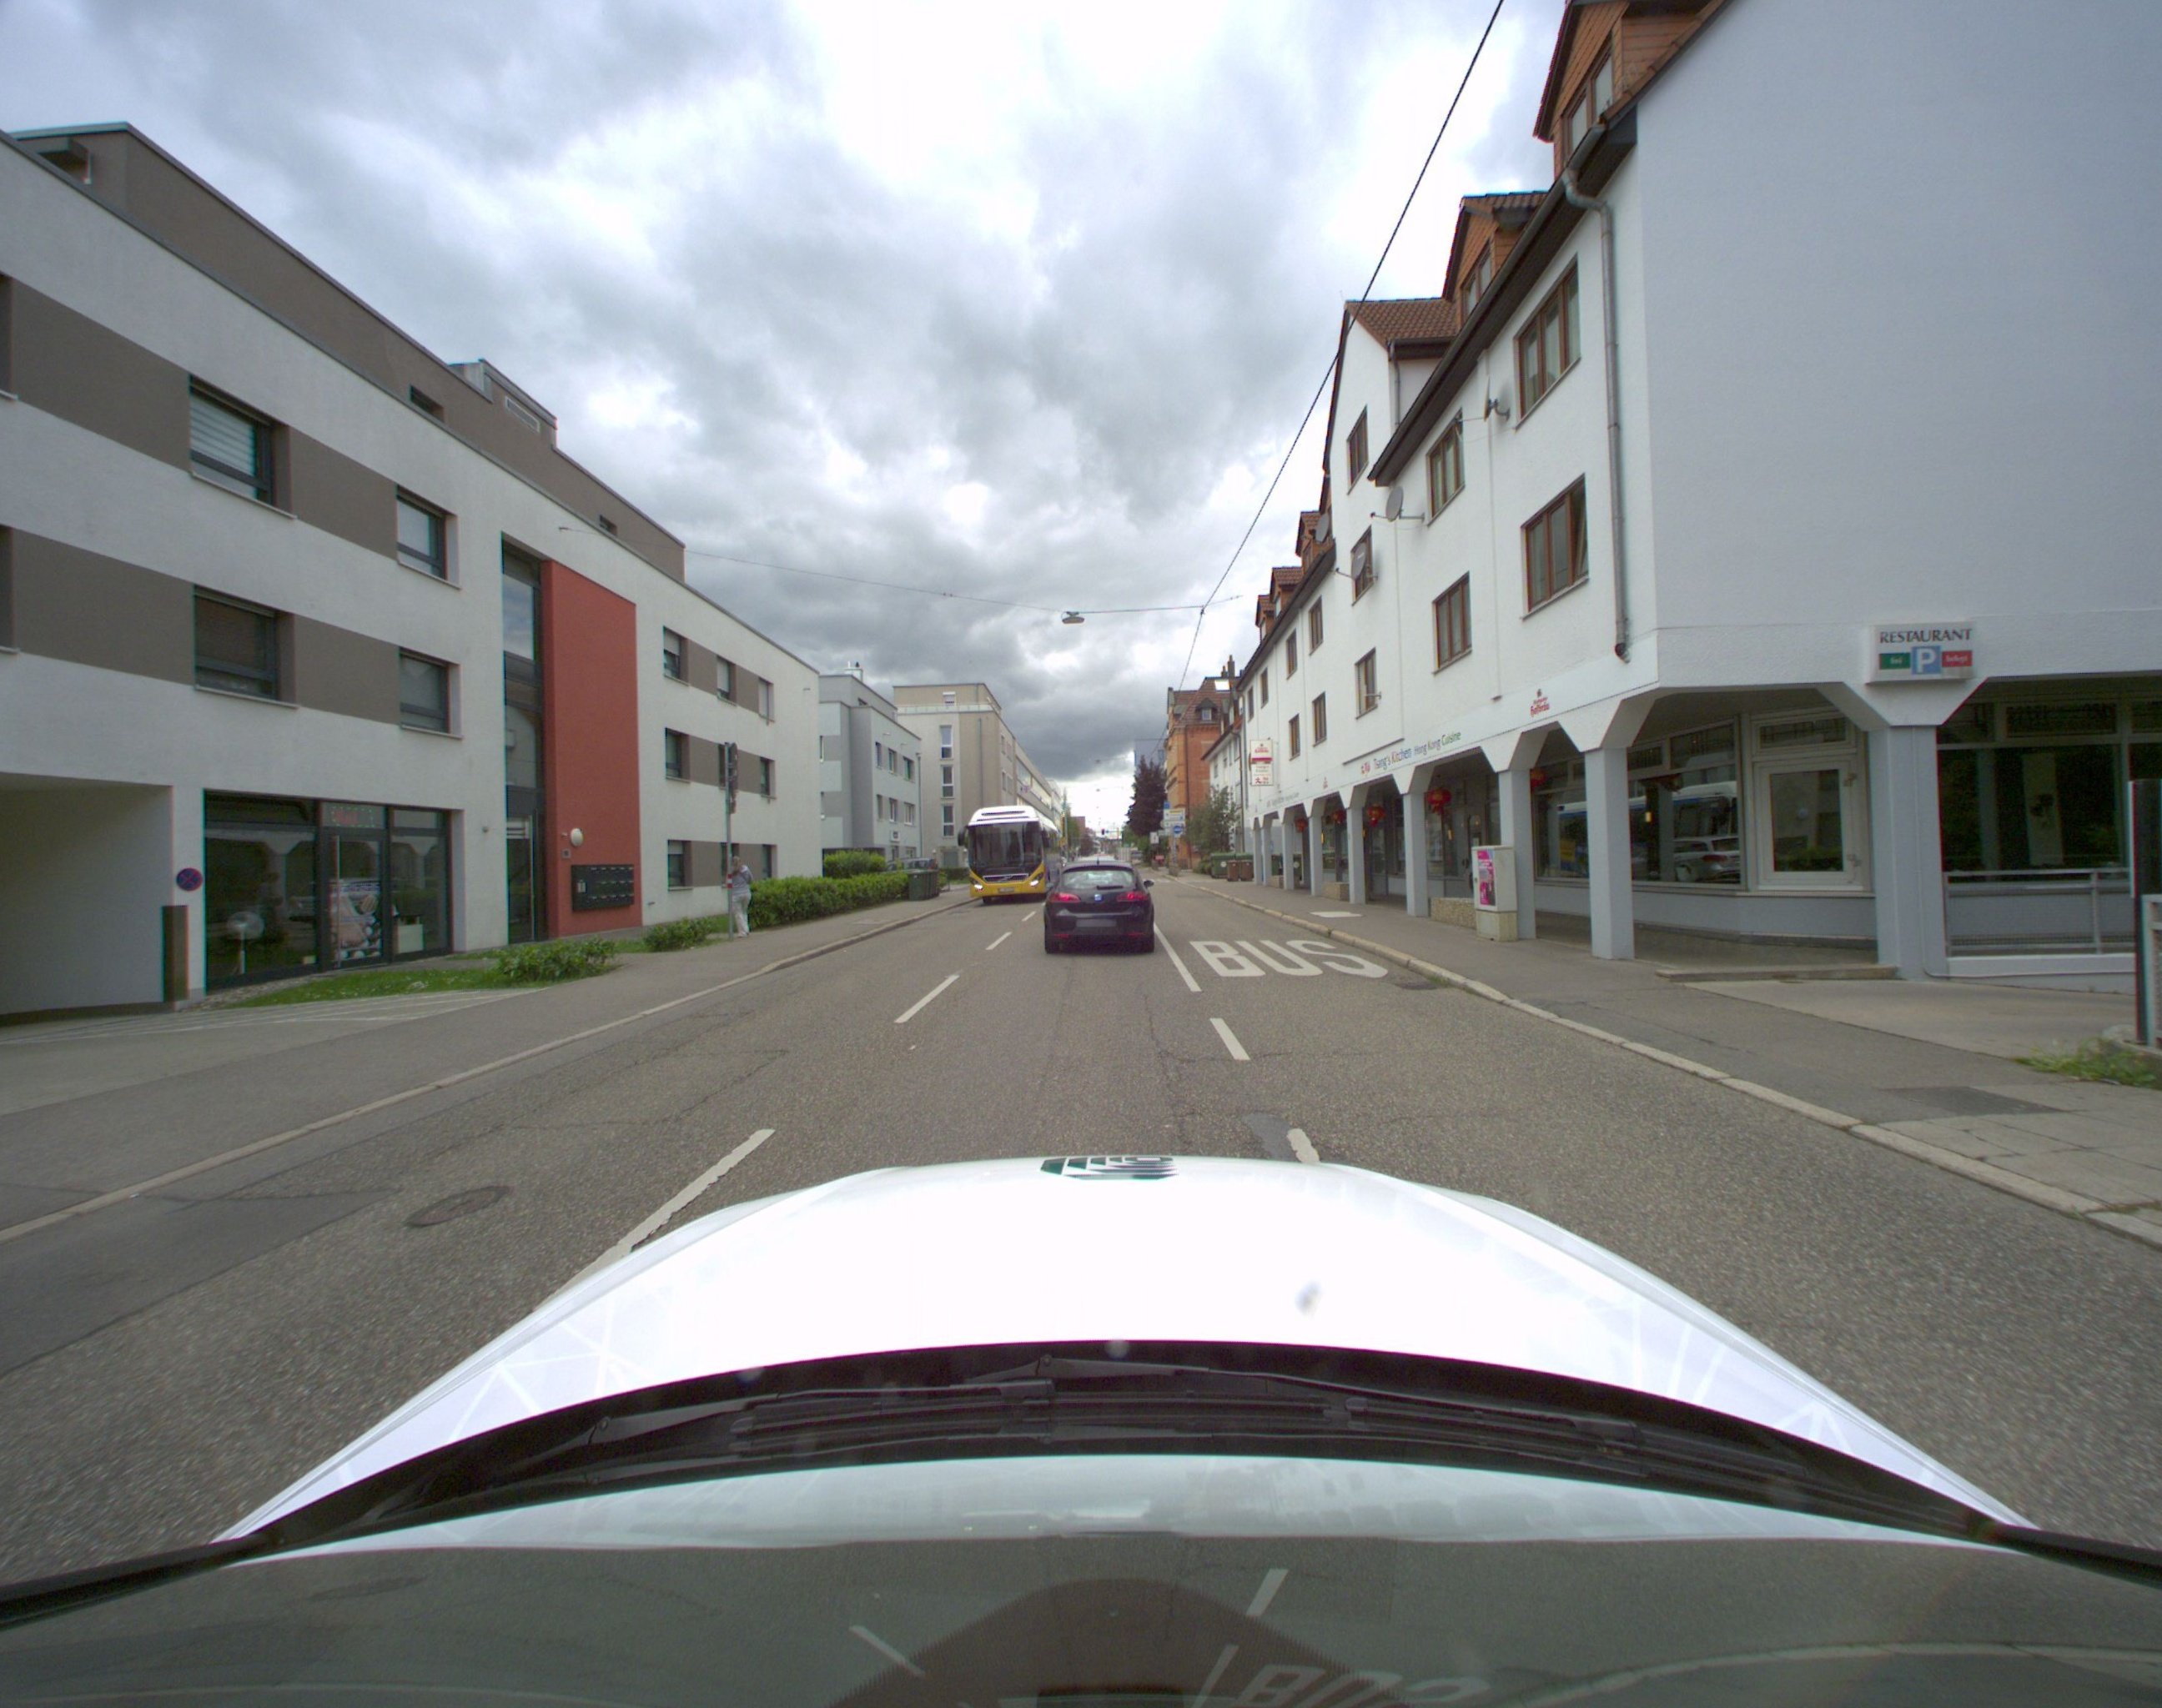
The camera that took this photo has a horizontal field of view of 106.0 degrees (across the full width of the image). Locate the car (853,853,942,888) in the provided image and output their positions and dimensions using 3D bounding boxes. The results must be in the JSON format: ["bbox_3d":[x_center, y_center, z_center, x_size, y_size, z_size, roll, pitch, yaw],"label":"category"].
[{"bbox_3d":[-9.622,0.859,42.820,4.143,1.667,1.727,-2,-1,5],"label":"car"}]

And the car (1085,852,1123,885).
[{"bbox_3d":[1.173,0.716,41.549,1.797,1.553,3.738,-2,0,1],"label":"car"}]

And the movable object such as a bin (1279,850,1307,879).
[{"bbox_3d":[10.752,0.506,41.353,1.203,1.417,1.261,-2,0,5],"label":"movable object such as a bin"}]

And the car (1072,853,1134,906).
[{"bbox_3d":[0.681,0.758,25.817,1.797,1.492,3.738,-2,0,1],"label":"car"}]

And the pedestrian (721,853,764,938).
[{"bbox_3d":[-6.720,0.810,16.183,0.643,1.642,0.514,-1,0,-37],"label":"pedestrian"}]

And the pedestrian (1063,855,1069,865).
[{"bbox_3d":[-2.720,1.099,148.915,0.915,1.869,0.783,-2,0,1],"label":"pedestrian"}]

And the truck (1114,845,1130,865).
[{"bbox_3d":[5.680,0.128,112.744,1.986,2.607,3.261,-2,0,1],"label":"truck"}]

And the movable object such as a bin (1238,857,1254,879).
[{"bbox_3d":[8.464,0.705,41.769,0.694,1.079,0.973,-2,0,5],"label":"movable object such as a bin"}]

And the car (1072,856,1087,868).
[{"bbox_3d":[-0.123,1.059,113.423,1.872,1.451,4.215,-4,0,1],"label":"car"}]

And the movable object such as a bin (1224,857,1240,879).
[{"bbox_3d":[7.738,0.718,41.811,0.680,1.067,0.973,-2,0,5],"label":"movable object such as a bin"}]

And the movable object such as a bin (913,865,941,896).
[{"bbox_3d":[-6.032,1.031,31.944,0.938,1.151,0.612,-2,0,-3],"label":"movable object such as a bin"}]

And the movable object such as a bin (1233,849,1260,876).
[{"bbox_3d":[9.229,0.471,45.425,1.262,1.435,1.308,-2,0,2],"label":"movable object such as a bin"}]

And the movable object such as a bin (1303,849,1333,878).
[{"bbox_3d":[12.002,0.475,41.285,1.203,1.417,1.261,-2,0,5],"label":"movable object such as a bin"}]

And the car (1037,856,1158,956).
[{"bbox_3d":[0.304,0.776,14.013,1.759,1.433,3.830,-2,0,2],"label":"car"}]

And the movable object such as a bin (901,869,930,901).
[{"bbox_3d":[-5.983,1.120,29.518,0.892,1.089,0.792,-2,0,-3],"label":"movable object such as a bin"}]

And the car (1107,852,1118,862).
[{"bbox_3d":[5.210,0.517,135.395,1.797,1.601,3.738,-1,0,1],"label":"car"}]

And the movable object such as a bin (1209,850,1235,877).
[{"bbox_3d":[7.891,0.529,45.733,1.262,1.417,1.163,-2,0,2],"label":"movable object such as a bin"}]

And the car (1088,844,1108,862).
[{"bbox_3d":[1.578,-0.078,75.203,1.797,1.553,3.738,-2,0,1],"label":"car"}]

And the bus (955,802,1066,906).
[{"bbox_3d":[-2.433,-0.020,32.865,2.932,3.274,12.012,-3,0,1],"label":"bus"}]

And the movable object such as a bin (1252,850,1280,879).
[{"bbox_3d":[9.395,0.543,41.400,1.203,1.417,1.261,-2,0,5],"label":"movable object such as a bin"}]

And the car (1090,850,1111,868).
[{"bbox_3d":[1.793,0.408,75.285,1.797,1.601,3.738,-1,0,1],"label":"car"}]

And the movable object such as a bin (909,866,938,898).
[{"bbox_3d":[-6.030,1.063,31.228,0.946,1.151,0.748,-2,0,-3],"label":"movable object such as a bin"}]

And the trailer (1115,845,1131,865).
[{"bbox_3d":[5.618,0.135,109.913,1.986,2.607,5.350,-2,0,1],"label":"trailer"}]

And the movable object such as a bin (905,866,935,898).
[{"bbox_3d":[-6.005,1.040,30.401,0.954,1.151,0.839,-2,0,-3],"label":"movable object such as a bin"}]
